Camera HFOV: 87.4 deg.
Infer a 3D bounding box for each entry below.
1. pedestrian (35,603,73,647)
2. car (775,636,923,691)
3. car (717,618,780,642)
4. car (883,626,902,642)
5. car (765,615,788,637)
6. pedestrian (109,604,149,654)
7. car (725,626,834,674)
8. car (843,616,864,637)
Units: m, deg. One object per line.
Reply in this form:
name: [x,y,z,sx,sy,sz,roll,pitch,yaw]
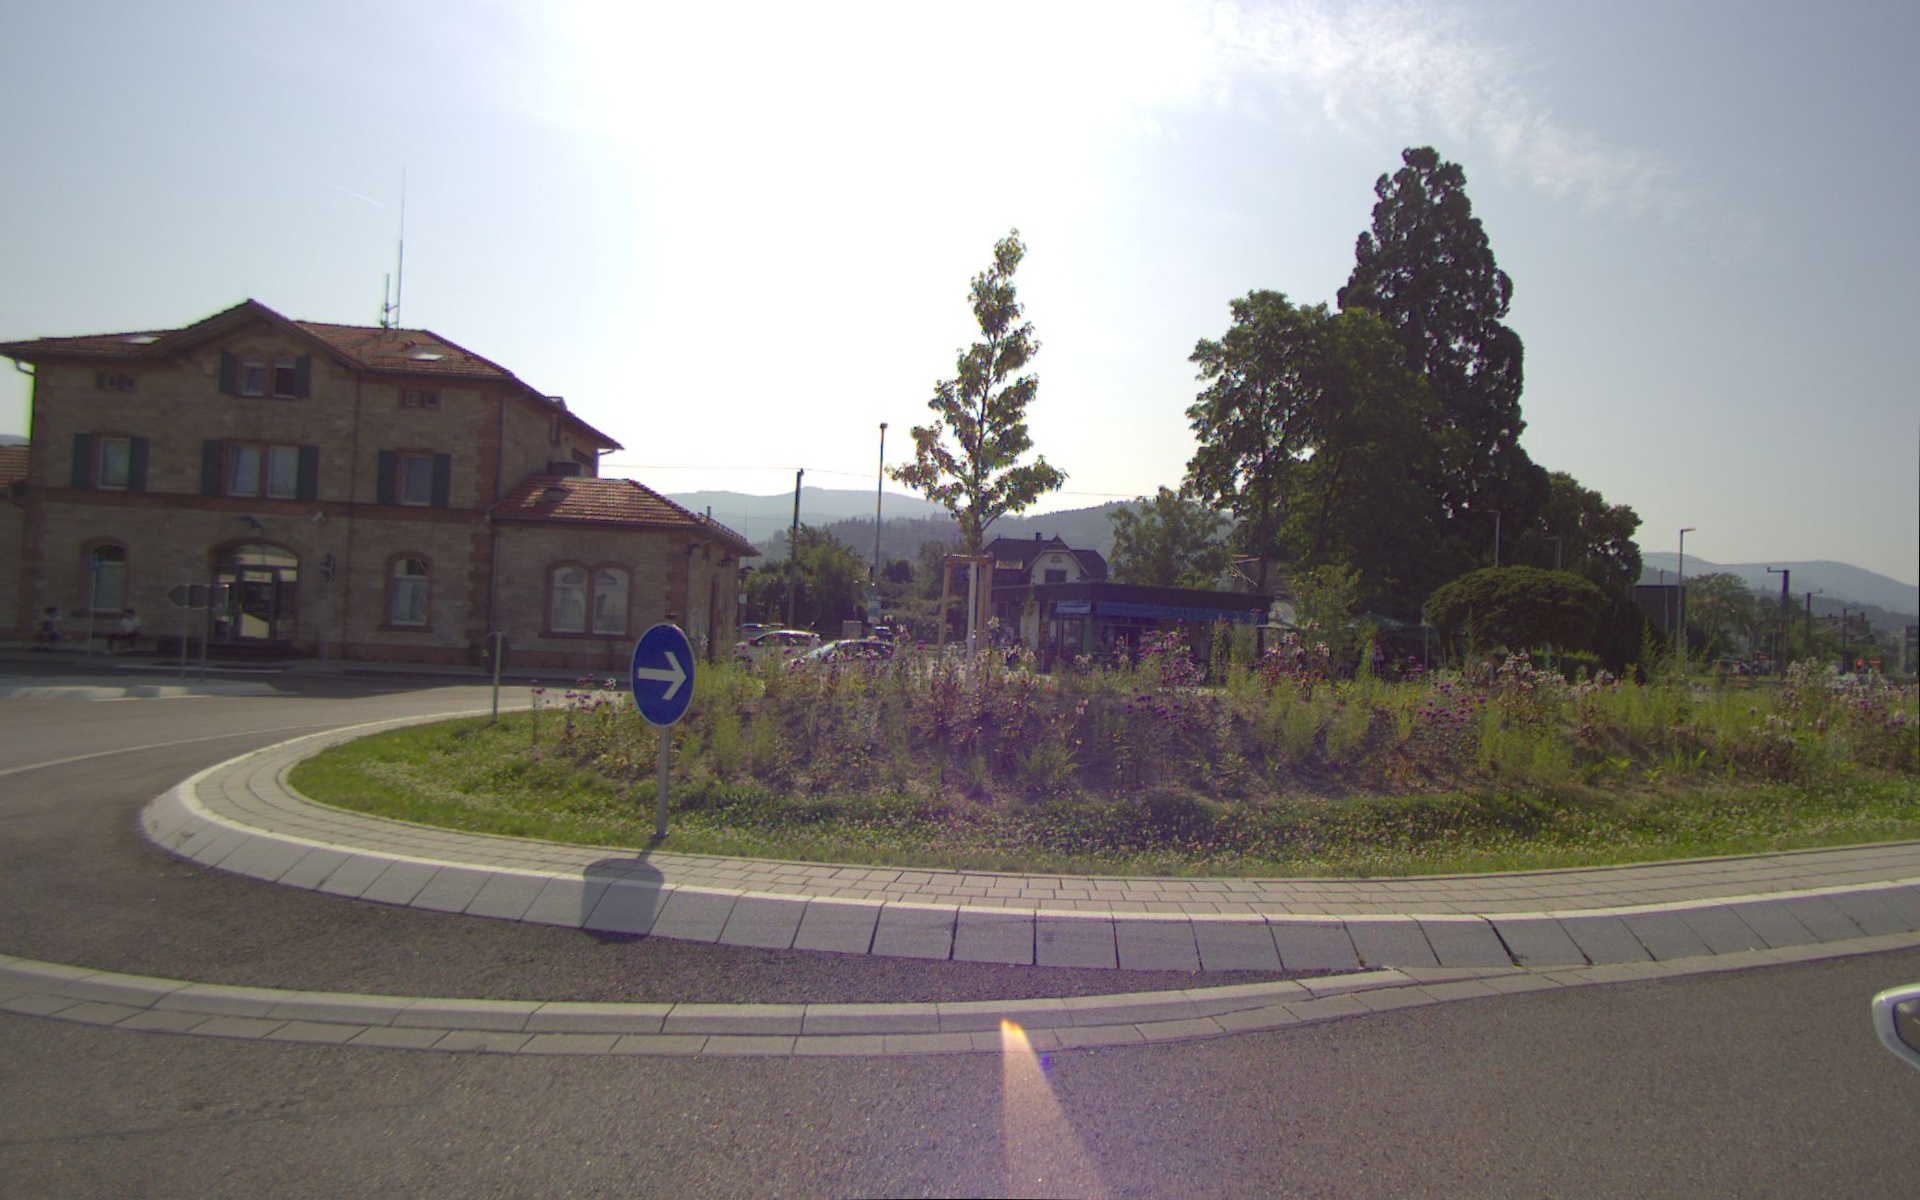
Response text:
pedestrian: [-25.614,0.710,28.395,0.573,1.219,0.442,3,-2,-6]
car: [-2.634,1.523,24.006,3.204,1.187,1.382,3,-2,-29]
car: [-13.853,1.951,65.722,3.933,1.358,1.608,4,-3,-15]
car: [-6.088,3.052,90.558,1.365,1.382,3.538,2,-2,1]
car: [-13.787,1.955,75.308,1.584,1.554,3.575,3,-3,-11]
pedestrian: [-23.523,0.821,28.439,0.542,1.367,0.566,3,-2,-3]
car: [-6.007,1.661,33.650,3.472,1.469,1.391,2,-2,-8]
car: [-8.479,2.117,79.924,1.582,1.554,3.579,3,-3,-6]
